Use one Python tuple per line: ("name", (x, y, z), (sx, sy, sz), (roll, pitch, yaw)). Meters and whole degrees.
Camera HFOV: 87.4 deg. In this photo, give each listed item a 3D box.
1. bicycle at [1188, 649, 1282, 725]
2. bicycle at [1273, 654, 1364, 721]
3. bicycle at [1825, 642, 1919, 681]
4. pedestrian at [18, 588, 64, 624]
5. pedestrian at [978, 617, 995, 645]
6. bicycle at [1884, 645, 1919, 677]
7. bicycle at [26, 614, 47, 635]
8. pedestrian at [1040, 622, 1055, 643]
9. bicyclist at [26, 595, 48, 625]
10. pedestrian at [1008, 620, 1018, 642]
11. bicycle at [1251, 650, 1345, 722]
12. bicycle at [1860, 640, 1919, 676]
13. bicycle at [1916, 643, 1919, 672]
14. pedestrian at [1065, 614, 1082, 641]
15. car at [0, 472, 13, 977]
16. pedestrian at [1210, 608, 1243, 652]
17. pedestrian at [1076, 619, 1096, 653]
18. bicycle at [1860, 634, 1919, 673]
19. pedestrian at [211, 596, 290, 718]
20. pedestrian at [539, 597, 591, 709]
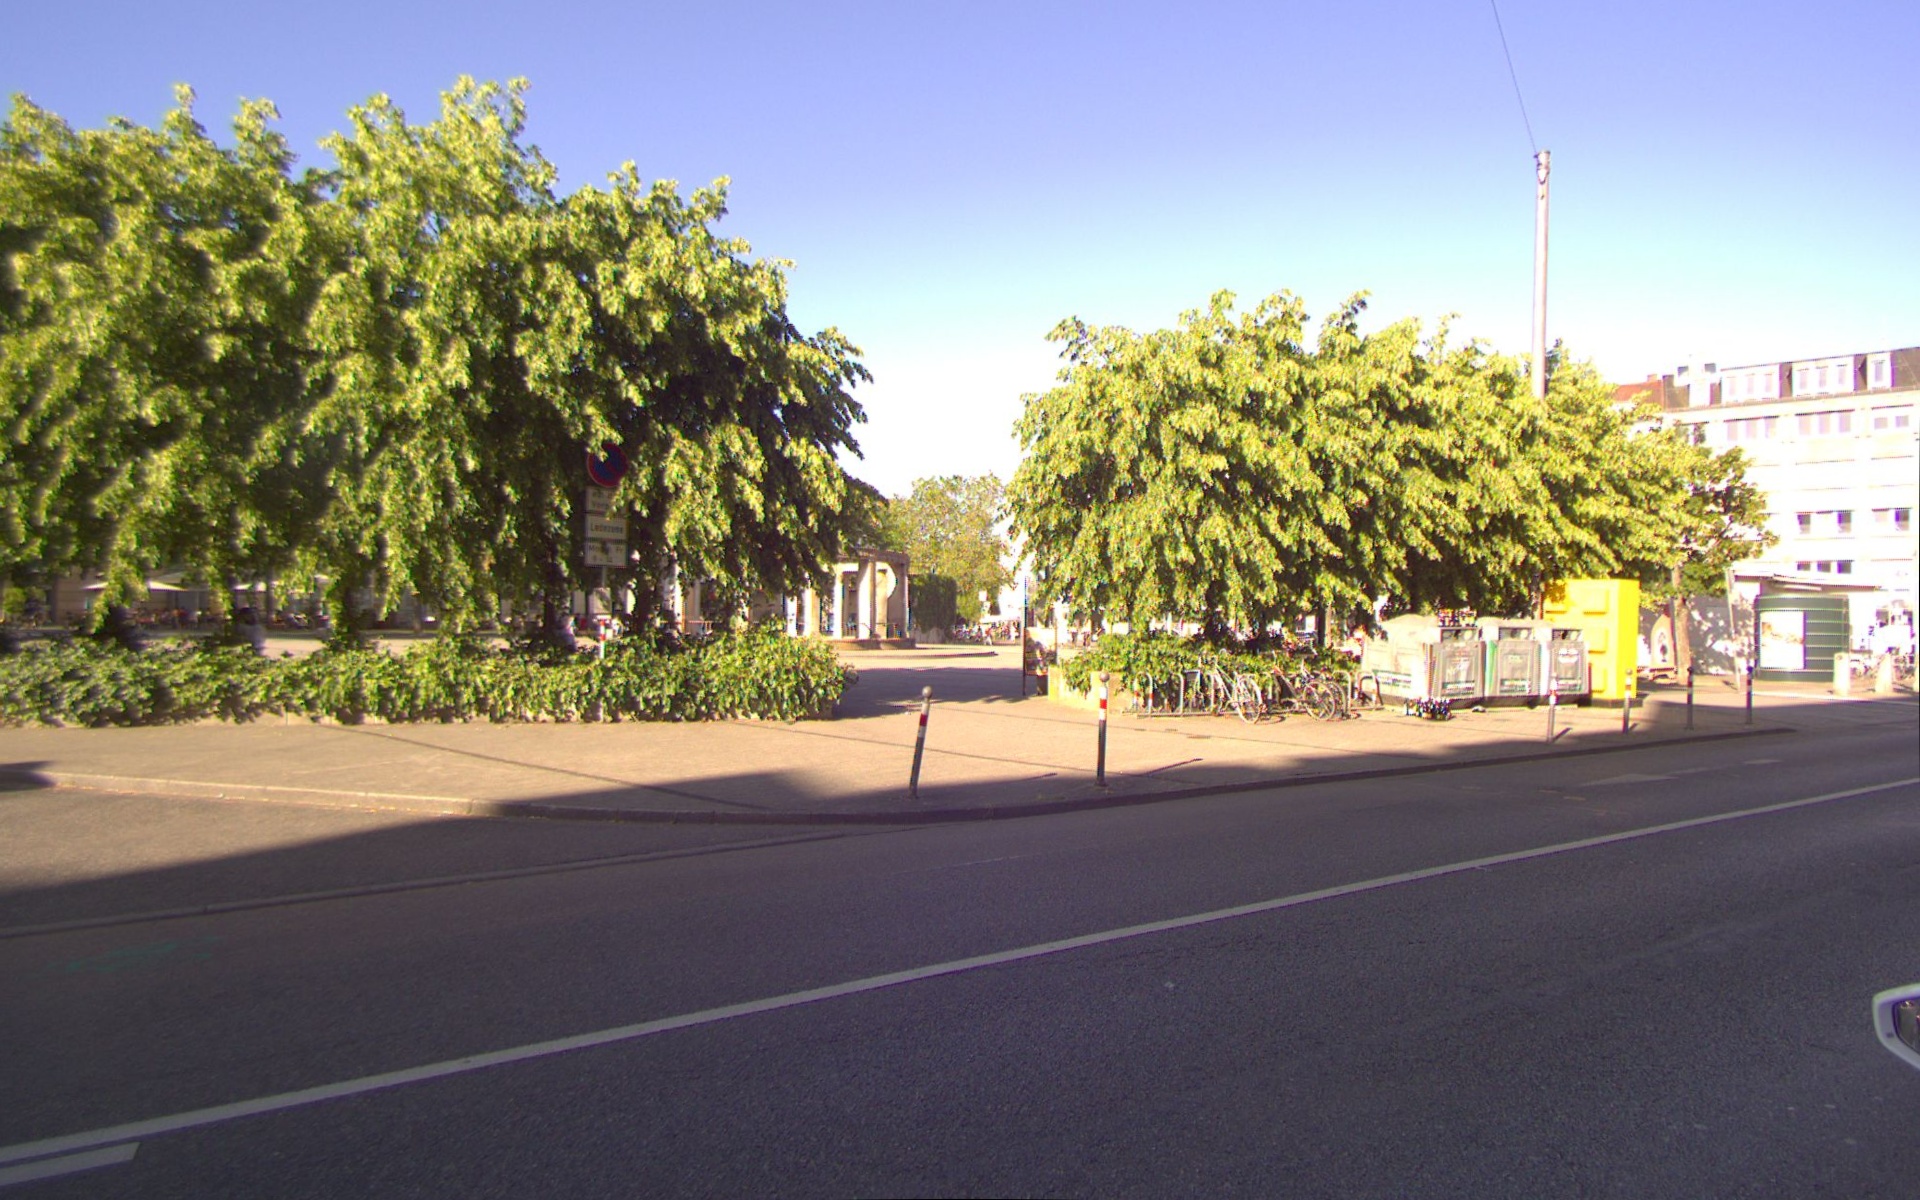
("bicycle", (4.229, 1.321, 15.551), (0.425, 1.031, 1.590), (1, 0, -28))
("bicycle", (5.845, 1.406, 16.437), (0.425, 0.971, 1.518), (0, 0, -28))
("bicycle", (30.916, 2.051, 33.875), (0.833, 1.171, 2.493), (1, -1, -31))
("pedestrian", (-51.231, 0.333, 56.010), (1.233, 1.937, 1.451), (1, 0, 19))
("pedestrian", (1.993, 2.341, 76.252), (0.808, 2.040, 1.042), (1, -1, -43))
("bicycle", (36.765, 2.321, 38.036), (0.834, 1.171, 2.517), (1, -1, -34))
("bicycle", (-44.302, 1.189, 48.169), (1.879, 0.966, 0.586), (0, -1, 43))
("pedestrian", (8.435, 3.149, 97.343), (1.252, 2.040, 1.285), (1, -1, -4))
("bicyclist", (-44.318, 0.472, 48.223), (0.688, 1.447, 0.670), (1, -1, 42))
("pedestrian", (5.110, 2.942, 96.426), (0.886, 2.040, 1.286), (1, -1, 3))
("bicycle", (5.398, 1.354, 16.134), (0.425, 1.036, 1.561), (1, -1, -28))
("bicycle", (33.131, 2.031, 35.039), (0.833, 1.171, 2.449), (1, -1, -31))
("bicycle", (39.799, 2.345, 40.045), (0.834, 1.171, 2.308), (1, -1, -34))
("pedestrian", (8.751, 2.135, 77.445), (0.890, 2.040, 1.280), (1, 0, -18))
("car", (-3.872, 0.519, 0.427), (4.675, 1.795, 1.983), (1, -2, -32))
("pedestrian", (12.709, 1.431, 47.911), (0.890, 2.040, 1.398), (1, 0, -17))
("pedestrian", (7.719, 2.224, 61.476), (0.889, 2.040, 0.990), (1, -1, -13))
("bicycle", (34.492, 1.937, 36.529), (0.913, 1.341, 2.461), (1, -1, -35))
("pedestrian", (-10.741, 0.845, 15.242), (0.725, 1.781, 0.895), (1, -1, -19))
("pedestrian", (-6.492, 0.855, 16.533), (0.725, 1.781, 0.895), (1, -1, -19))
